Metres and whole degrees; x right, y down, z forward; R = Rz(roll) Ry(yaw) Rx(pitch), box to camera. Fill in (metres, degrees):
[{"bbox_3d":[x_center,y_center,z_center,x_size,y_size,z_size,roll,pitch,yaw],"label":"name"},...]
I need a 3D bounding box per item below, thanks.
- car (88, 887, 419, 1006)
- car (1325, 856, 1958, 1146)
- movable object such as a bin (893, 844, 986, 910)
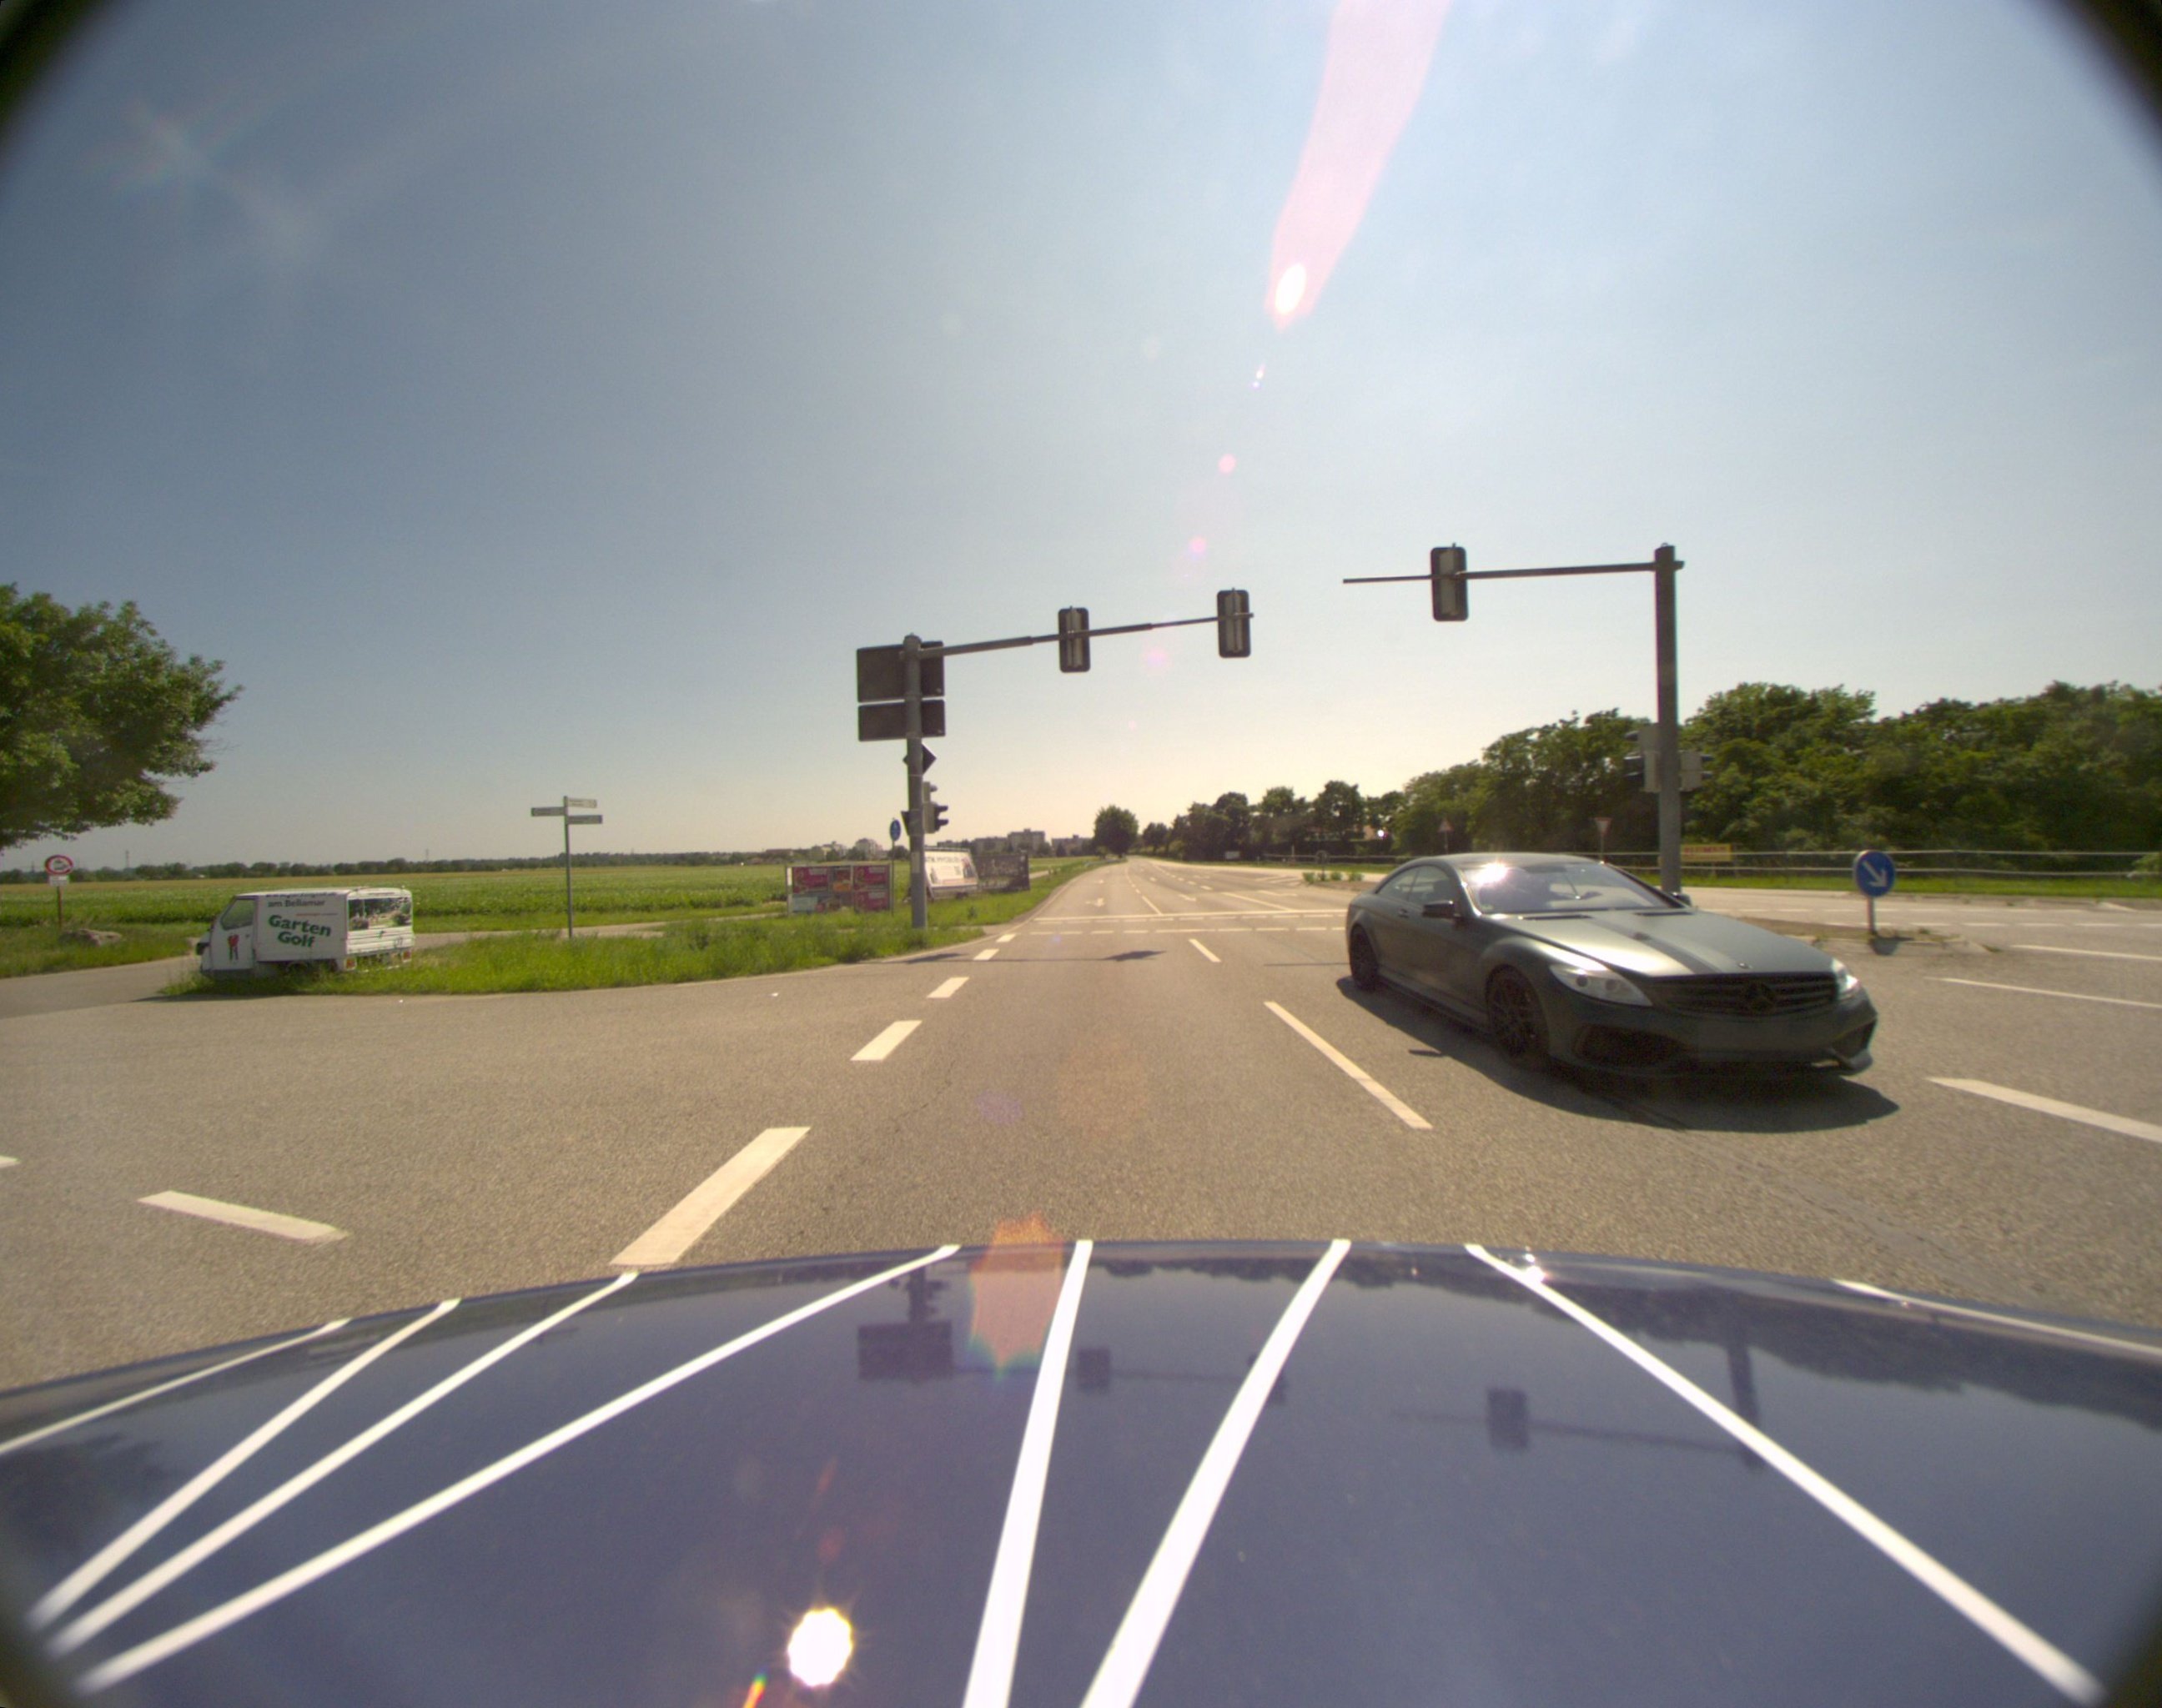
[{"bbox_3d":[-12.613,1.371,11.753,3.346,1.491,1.400,-2,1,-4],"label":"car"},{"bbox_3d":[3.753,0.785,6.460,1.815,1.441,4.877,-2,0,1],"label":"car"},{"bbox_3d":[-5.622,0.852,30.740,1.523,2.349,4.429,-3,1,20],"label":"movable object such as a bin"}]
